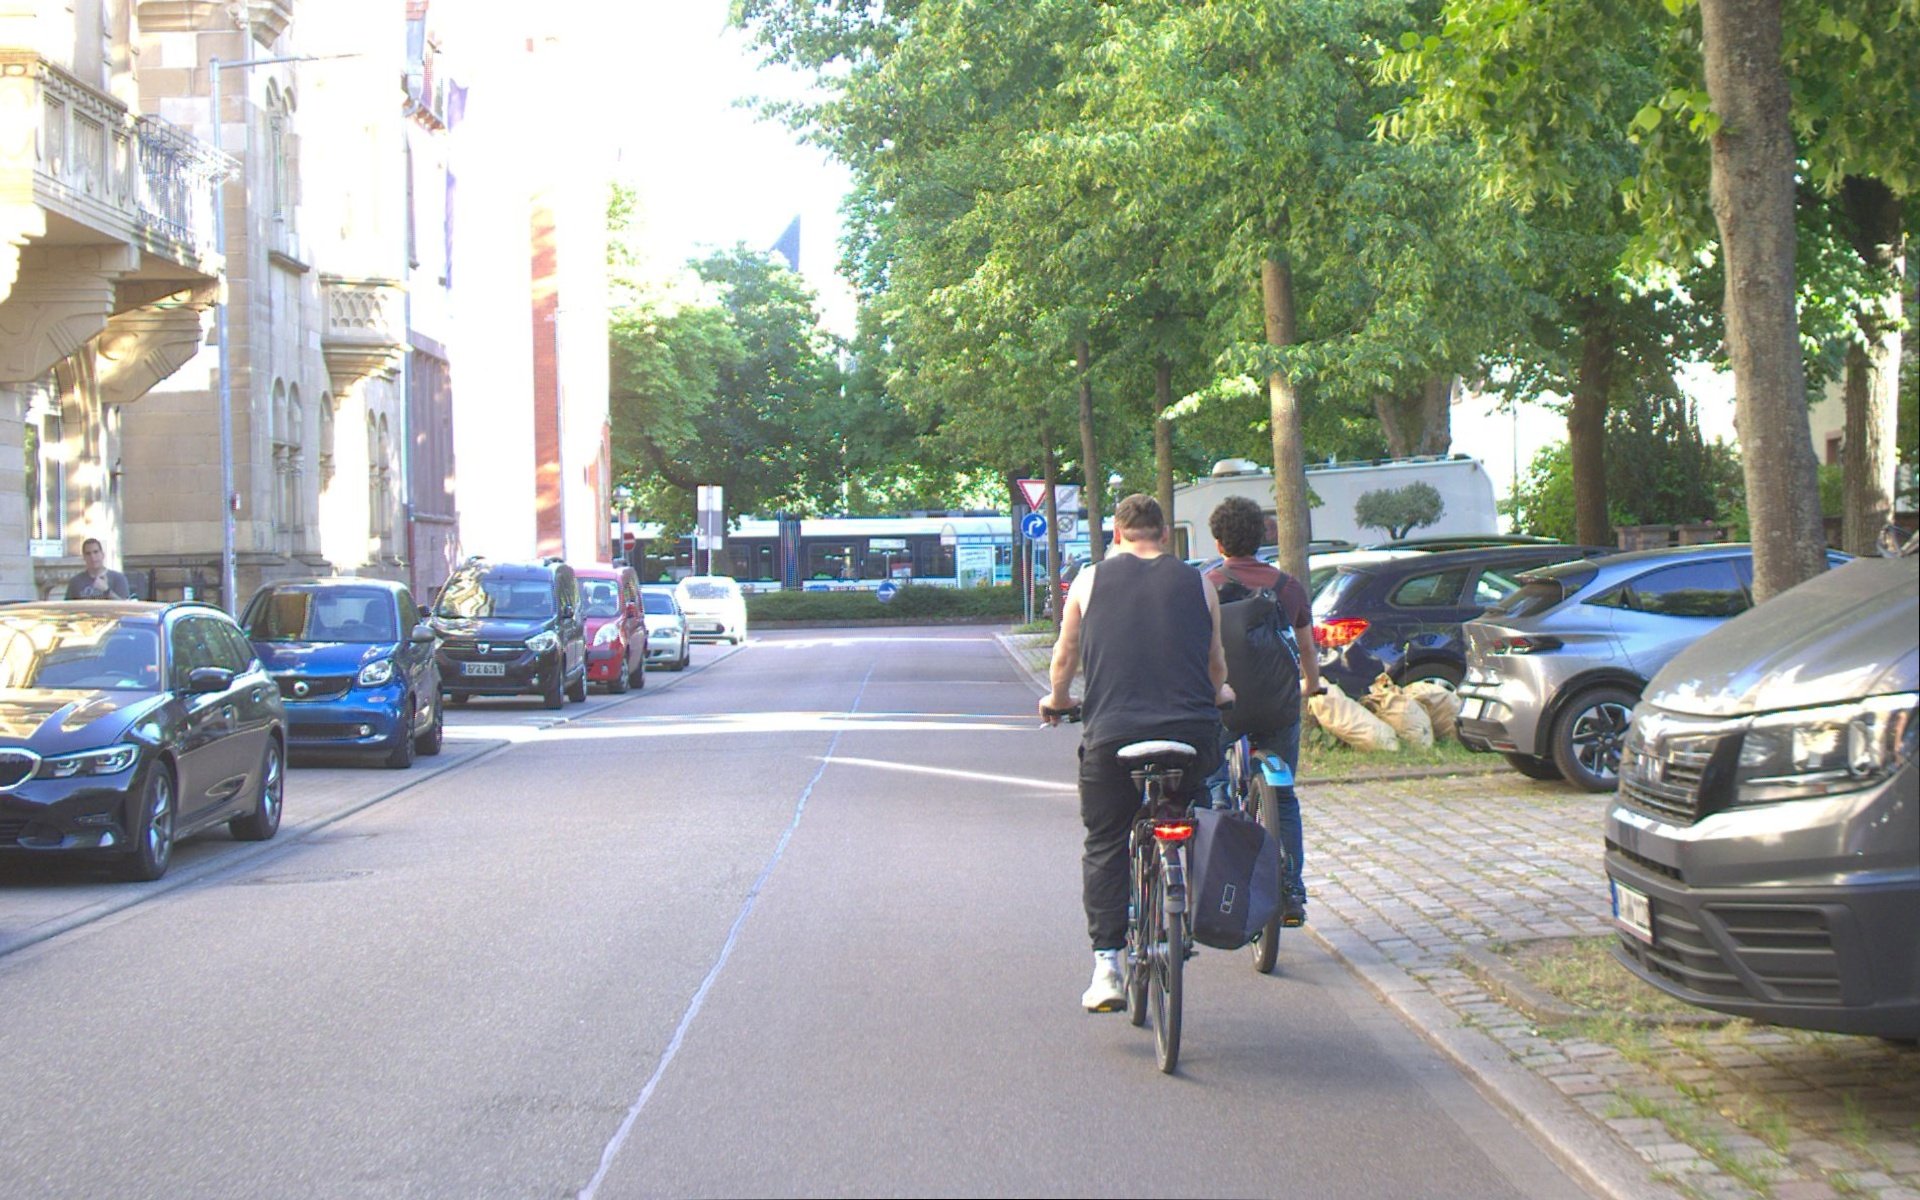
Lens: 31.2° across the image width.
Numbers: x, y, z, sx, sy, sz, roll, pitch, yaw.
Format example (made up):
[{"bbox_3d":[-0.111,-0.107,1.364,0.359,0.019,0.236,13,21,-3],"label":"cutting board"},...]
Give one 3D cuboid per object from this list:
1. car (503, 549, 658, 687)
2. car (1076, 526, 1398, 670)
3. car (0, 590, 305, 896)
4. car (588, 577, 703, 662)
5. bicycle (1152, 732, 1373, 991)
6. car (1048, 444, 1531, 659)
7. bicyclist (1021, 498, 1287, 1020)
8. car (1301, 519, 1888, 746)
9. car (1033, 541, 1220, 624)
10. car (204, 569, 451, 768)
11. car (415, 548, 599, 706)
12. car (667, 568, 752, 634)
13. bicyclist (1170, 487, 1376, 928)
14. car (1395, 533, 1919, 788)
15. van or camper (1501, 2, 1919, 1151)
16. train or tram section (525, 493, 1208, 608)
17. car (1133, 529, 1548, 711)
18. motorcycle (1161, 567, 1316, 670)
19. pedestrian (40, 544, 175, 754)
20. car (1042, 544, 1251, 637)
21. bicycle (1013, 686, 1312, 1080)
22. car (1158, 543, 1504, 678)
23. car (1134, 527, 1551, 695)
[{"bbox_3d":[-5.325,0.208,48.637,1.689,1.819,4.273,1,1,0],"label":"car"},{"bbox_3d":[3.730,-0.033,46.700,4.082,1.644,1.641,-4,0,-2],"label":"car"},{"bbox_3d":[-4.998,0.710,19.515,1.675,1.425,4.550,1,1,0],"label":"car"},{"bbox_3d":[-5.424,0.319,59.630,1.583,1.339,4.131,1,1,0],"label":"car"},{"bbox_3d":[1.115,0.956,13.005,0.633,0.796,1.832,-2,1,-1],"label":"bicycle"},{"bbox_3d":[5.101,-0.758,53.997,7.146,2.968,2.465,-3,0,-3],"label":"car"},{"bbox_3d":[0.586,0.474,10.670,0.730,1.542,0.884,1,0,-2],"label":"bicyclist"},{"bbox_3d":[4.845,0.262,26.675,4.223,1.594,1.690,-2,-1,1],"label":"car"},{"bbox_3d":[3.677,-0.374,76.267,3.986,1.797,1.834,0,0,-2],"label":"car"},{"bbox_3d":[-5.239,0.534,28.737,1.595,1.484,2.737,2,1,-2],"label":"car"},{"bbox_3d":[-5.459,0.276,41.873,1.640,1.777,4.354,1,1,0],"label":"car"},{"bbox_3d":[-5.600,0.005,77.151,1.583,1.371,4.131,1,1,0],"label":"car"},{"bbox_3d":[1.183,0.390,13.146,0.689,1.621,0.998,0,0,0],"label":"bicyclist"},{"bbox_3d":[4.852,0.335,21.176,4.032,1.449,1.691,-1,0,-4],"label":"car"},{"bbox_3d":[5.274,-0.309,9.151,7.147,2.638,2.464,-4,1,2],"label":"van or camper"},{"bbox_3d":[-3.002,-1.611,119.755,23.800,3.696,4.287,0,0,-22],"label":"train or tram section"},{"bbox_3d":[3.594,0.208,32.945,3.773,1.594,1.690,-2,-1,1],"label":"car"},{"bbox_3d":[3.154,0.211,39.000,1.606,1.137,0.671,-1,1,33],"label":"motorcycle"},{"bbox_3d":[-7.163,0.410,28.913,0.938,1.736,0.735,0,0,0],"label":"pedestrian"},{"bbox_3d":[3.690,-0.184,68.381,3.986,1.797,1.834,0,0,-2],"label":"car"},{"bbox_3d":[0.583,0.818,10.601,0.737,1.050,1.956,1,0,-2],"label":"bicycle"},{"bbox_3d":[4.711,0.145,44.022,4.138,1.594,1.702,-1,-1,-3],"label":"car"},{"bbox_3d":[3.928,0.126,35.805,4.139,1.594,1.702,-2,-1,1],"label":"car"}]
